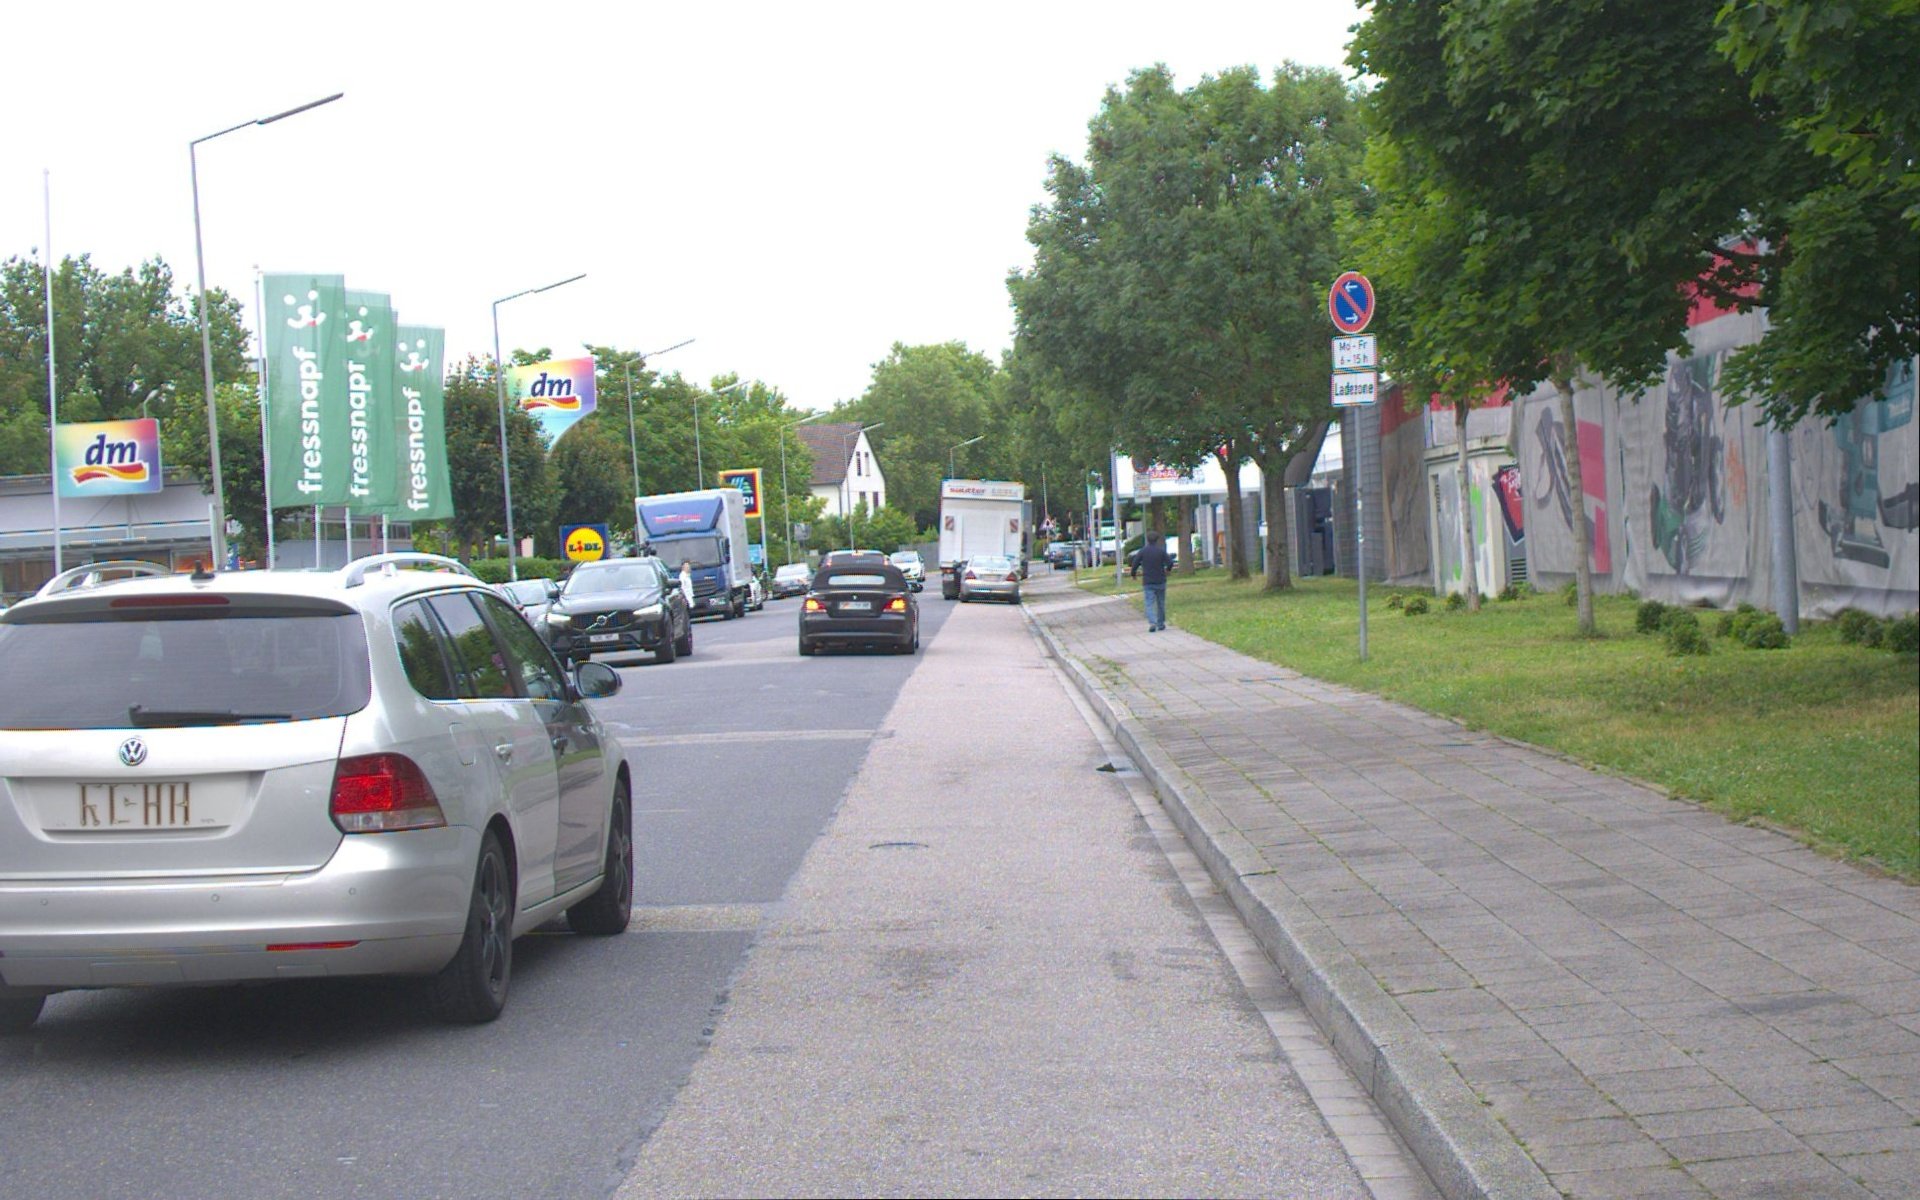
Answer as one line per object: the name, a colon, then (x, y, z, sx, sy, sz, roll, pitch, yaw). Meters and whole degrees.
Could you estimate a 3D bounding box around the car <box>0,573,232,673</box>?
car: (-14.696, 0.392, 58.713, 4.135, 1.458, 1.899, -3, 1, -4)

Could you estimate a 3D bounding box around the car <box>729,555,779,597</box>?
car: (-7.914, -0.922, 132.157, 1.705, 1.541, 3.621, -2, 0, -1)

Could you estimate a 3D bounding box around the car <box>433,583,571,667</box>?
car: (-8.424, 0.436, 63.535, 1.898, 1.362, 4.000, -3, 1, 1)

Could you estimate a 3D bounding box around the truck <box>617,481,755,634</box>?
truck: (-7.668, -1.201, 97.059, 2.974, 3.942, 6.404, -5, 0, 1)

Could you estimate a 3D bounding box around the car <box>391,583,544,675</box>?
car: (-8.275, 0.456, 58.039, 1.898, 1.362, 4.000, -3, 1, 1)

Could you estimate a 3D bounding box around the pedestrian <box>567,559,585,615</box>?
pedestrian: (-10.665, -0.365, 95.557, 0.401, 1.526, 0.485, -3, 1, -5)

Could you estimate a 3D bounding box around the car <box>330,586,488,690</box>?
car: (-8.263, 0.540, 51.850, 1.898, 1.362, 4.001, -4, 1, -4)

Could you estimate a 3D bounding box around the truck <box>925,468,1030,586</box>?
truck: (0.491, -2.271, 111.390, 3.135, 3.572, 10.051, -2, 0, -1)

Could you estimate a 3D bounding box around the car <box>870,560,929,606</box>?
car: (-2.102, -0.612, 120.656, 1.886, 1.526, 4.254, -1, 1, 1)

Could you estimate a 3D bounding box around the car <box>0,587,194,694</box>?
car: (-14.270, 0.664, 53.792, 4.202, 1.458, 1.953, -4, 1, -7)

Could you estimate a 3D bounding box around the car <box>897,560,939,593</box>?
car: (-2.129, -1.214, 174.105, 1.886, 1.526, 4.254, -4, 1, 1)

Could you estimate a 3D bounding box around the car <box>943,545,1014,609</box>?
car: (0.537, -0.668, 102.098, 1.993, 1.800, 4.000, -2, 0, -1)

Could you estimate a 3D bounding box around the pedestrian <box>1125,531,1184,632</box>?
pedestrian: (3.200, -0.309, 56.693, 0.919, 1.629, 0.852, -2, 0, 3)

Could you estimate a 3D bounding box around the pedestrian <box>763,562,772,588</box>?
pedestrian: (-7.302, -0.950, 130.519, 0.250, 0.972, 0.343, -2, 0, 10)

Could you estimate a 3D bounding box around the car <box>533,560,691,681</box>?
car: (-5.368, 0.283, 53.486, 1.993, 1.678, 4.000, -4, 1, -1)

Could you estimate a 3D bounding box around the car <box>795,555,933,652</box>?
car: (-1.433, 0.037, 52.645, 1.745, 1.354, 4.137, -3, 0, 3)

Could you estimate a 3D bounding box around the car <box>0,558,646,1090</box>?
car: (-2.255, 0.614, 11.833, 1.753, 1.446, 4.297, -2, 1, 2)
